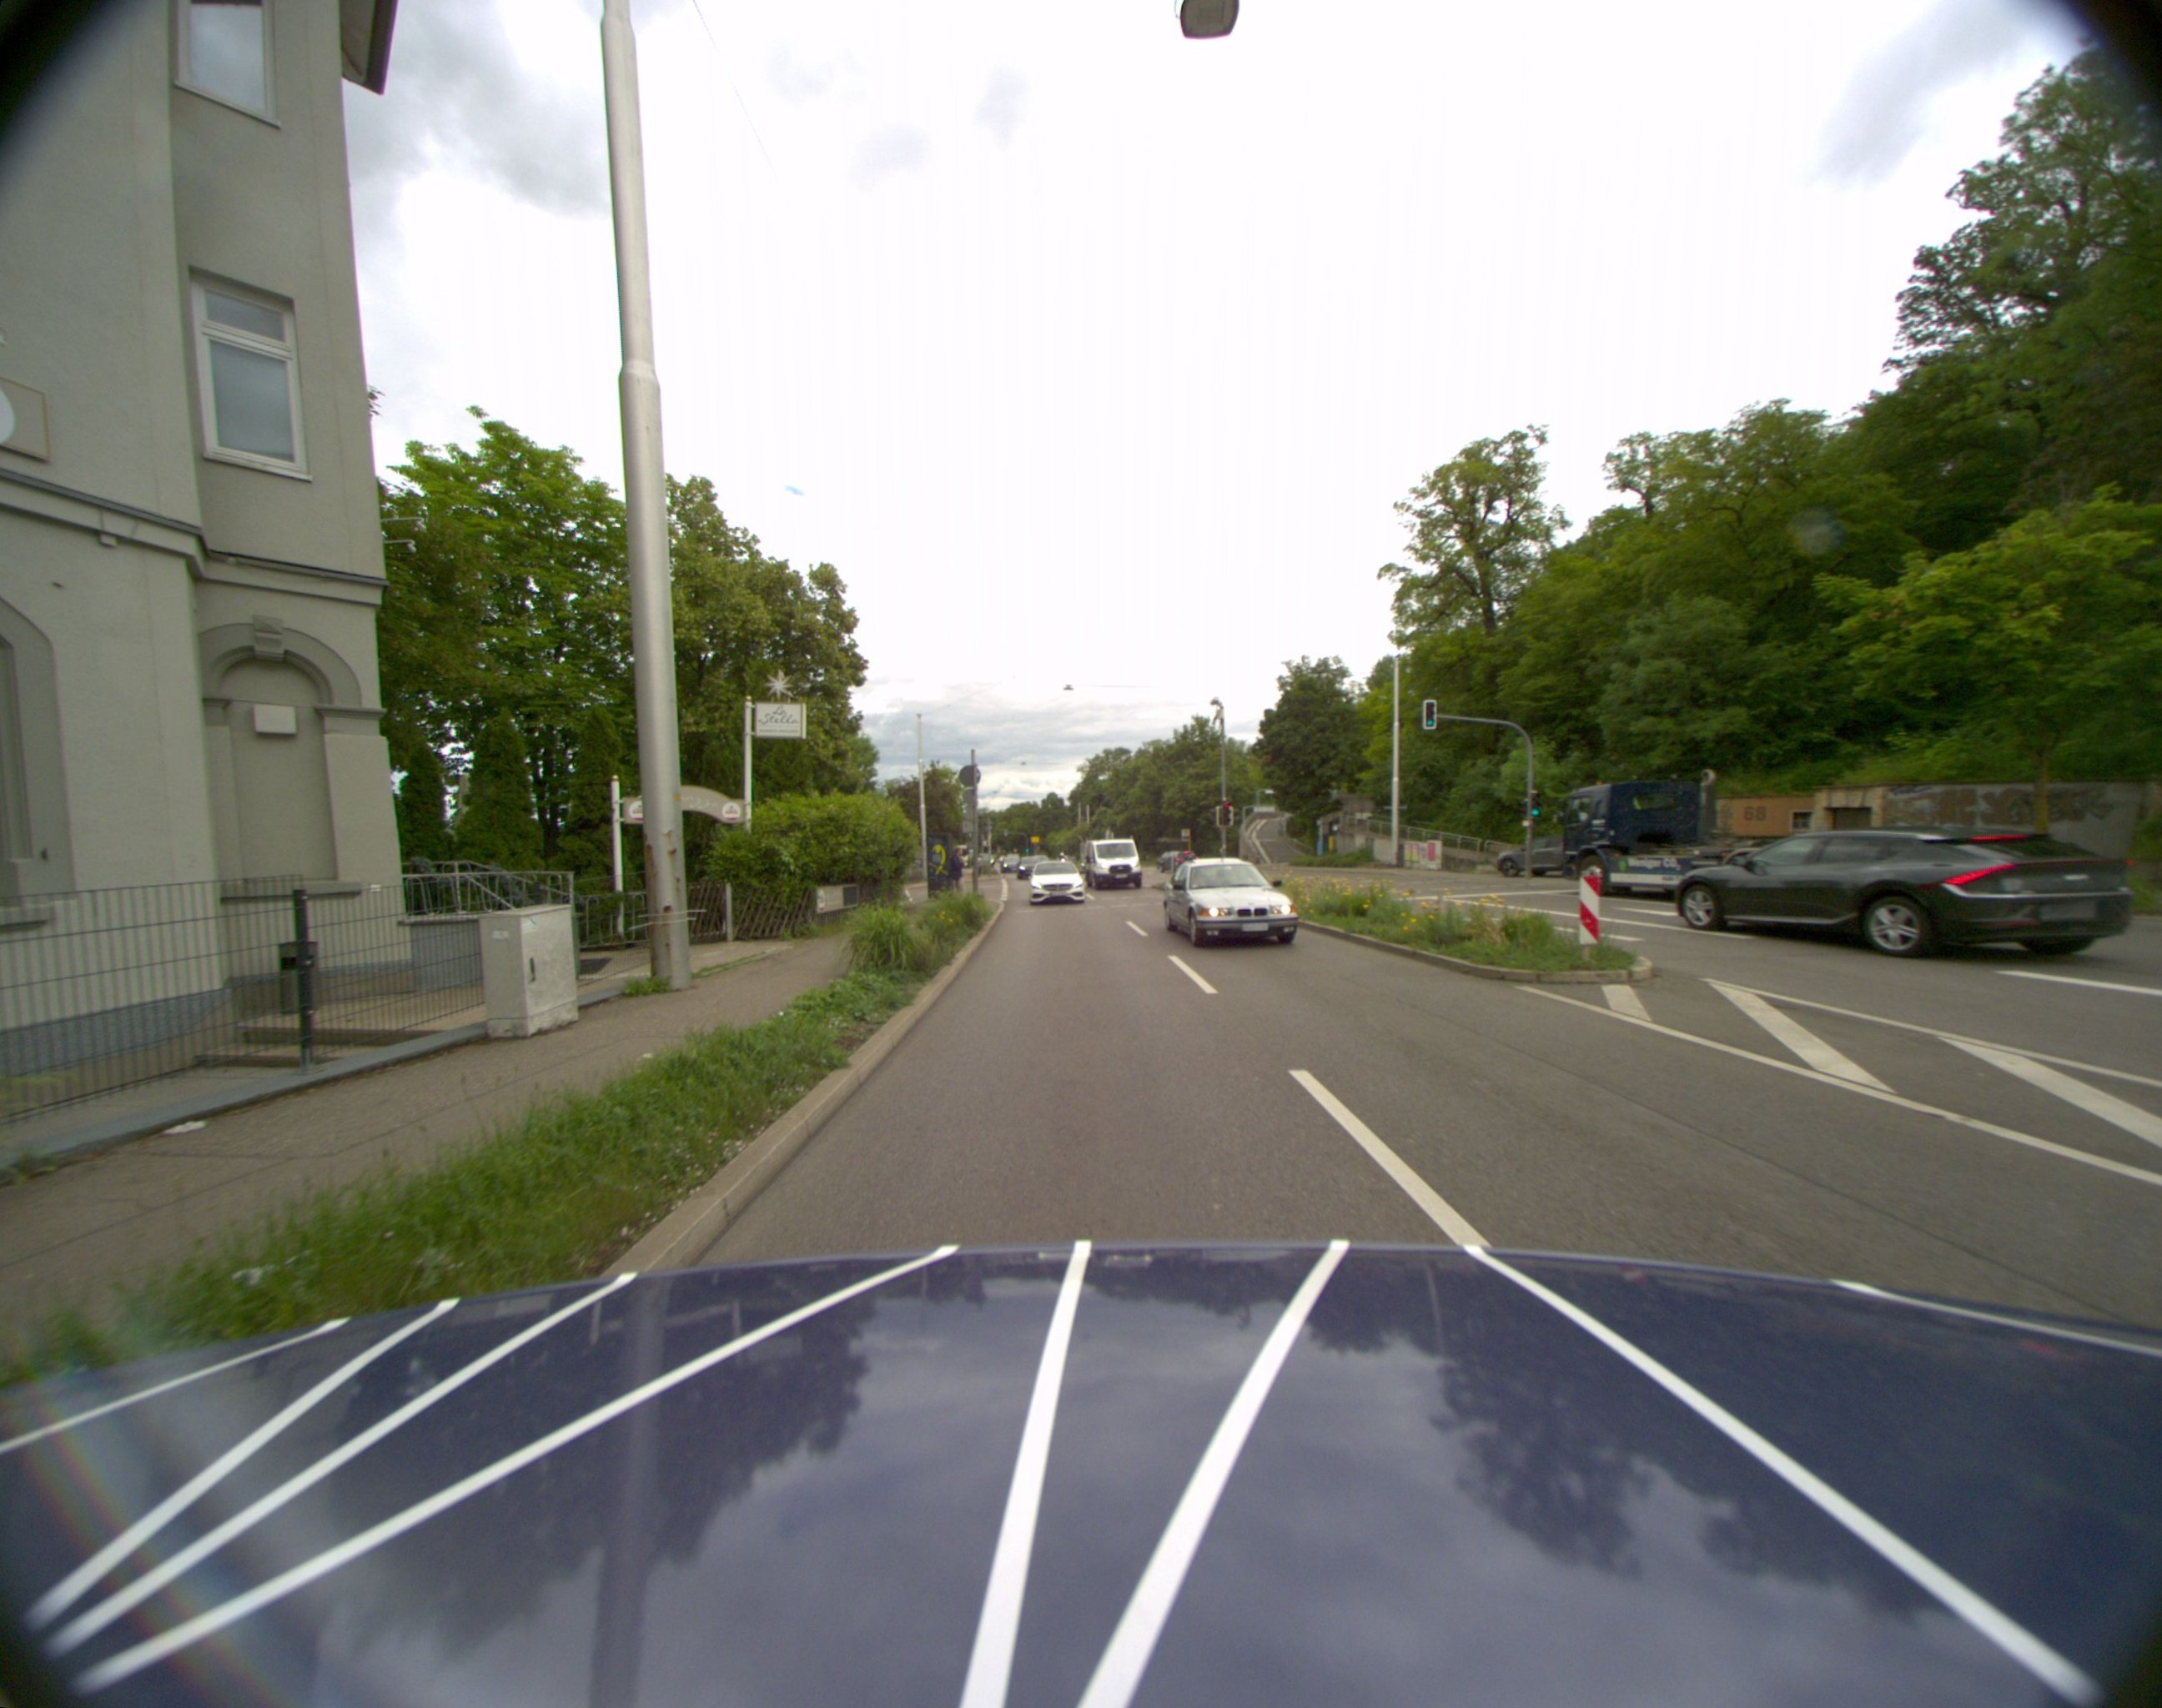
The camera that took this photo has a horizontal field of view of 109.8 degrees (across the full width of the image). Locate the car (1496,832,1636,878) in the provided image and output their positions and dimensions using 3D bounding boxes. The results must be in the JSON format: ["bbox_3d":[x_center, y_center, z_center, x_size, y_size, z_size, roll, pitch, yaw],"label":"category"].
[{"bbox_3d":[17.558,0.036,27.749,1.600,1.531,4.125,-2,1,-22],"label":"car"}]

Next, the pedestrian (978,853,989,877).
[{"bbox_3d":[-7.101,0.793,55.415,0.695,1.679,0.620,0,2,-1],"label":"pedestrian"}]

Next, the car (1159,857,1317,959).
[{"bbox_3d":[2.580,0.814,13.609,1.757,1.385,4.614,-2,1,-1],"label":"car"}]

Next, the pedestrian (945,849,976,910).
[{"bbox_3d":[-3.715,0.780,23.434,0.696,1.823,0.619,-3,1,-25],"label":"pedestrian"}]

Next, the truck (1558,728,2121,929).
[{"bbox_3d":[14.369,-0.418,16.055,2.968,2.954,8.978,-2,0,1],"label":"truck"}]

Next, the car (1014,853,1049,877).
[{"bbox_3d":[-3.452,0.728,52.388,1.679,1.532,4.609,-1,0,-13],"label":"car"}]

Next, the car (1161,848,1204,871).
[{"bbox_3d":[7.030,0.340,52.973,1.697,1.492,4.551,-3,1,-9],"label":"car"}]

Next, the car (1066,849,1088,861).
[{"bbox_3d":[-0.571,0.145,97.836,1.657,1.440,4.561,-3,1,-14],"label":"car"}]

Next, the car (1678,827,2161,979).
[{"bbox_3d":[10.372,0.479,9.960,1.699,1.488,4.486,-2,0,3],"label":"car"}]

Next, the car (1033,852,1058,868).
[{"bbox_3d":[-3.447,0.549,73.081,1.679,1.532,4.610,-1,0,-11],"label":"car"}]

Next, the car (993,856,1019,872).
[{"bbox_3d":[-6.833,0.865,69.076,1.809,1.385,4.279,-2,0,-12],"label":"car"}]

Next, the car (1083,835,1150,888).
[{"bbox_3d":[1.500,0.283,35.064,2.254,2.114,6.666,-2,1,-4],"label":"car"}]

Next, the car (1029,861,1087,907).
[{"bbox_3d":[-0.768,0.965,26.155,1.807,1.385,4.283,-1,0,-1],"label":"car"}]

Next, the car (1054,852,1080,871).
[{"bbox_3d":[-1.199,0.605,62.959,1.679,1.532,4.549,-1,0,-8],"label":"car"}]
